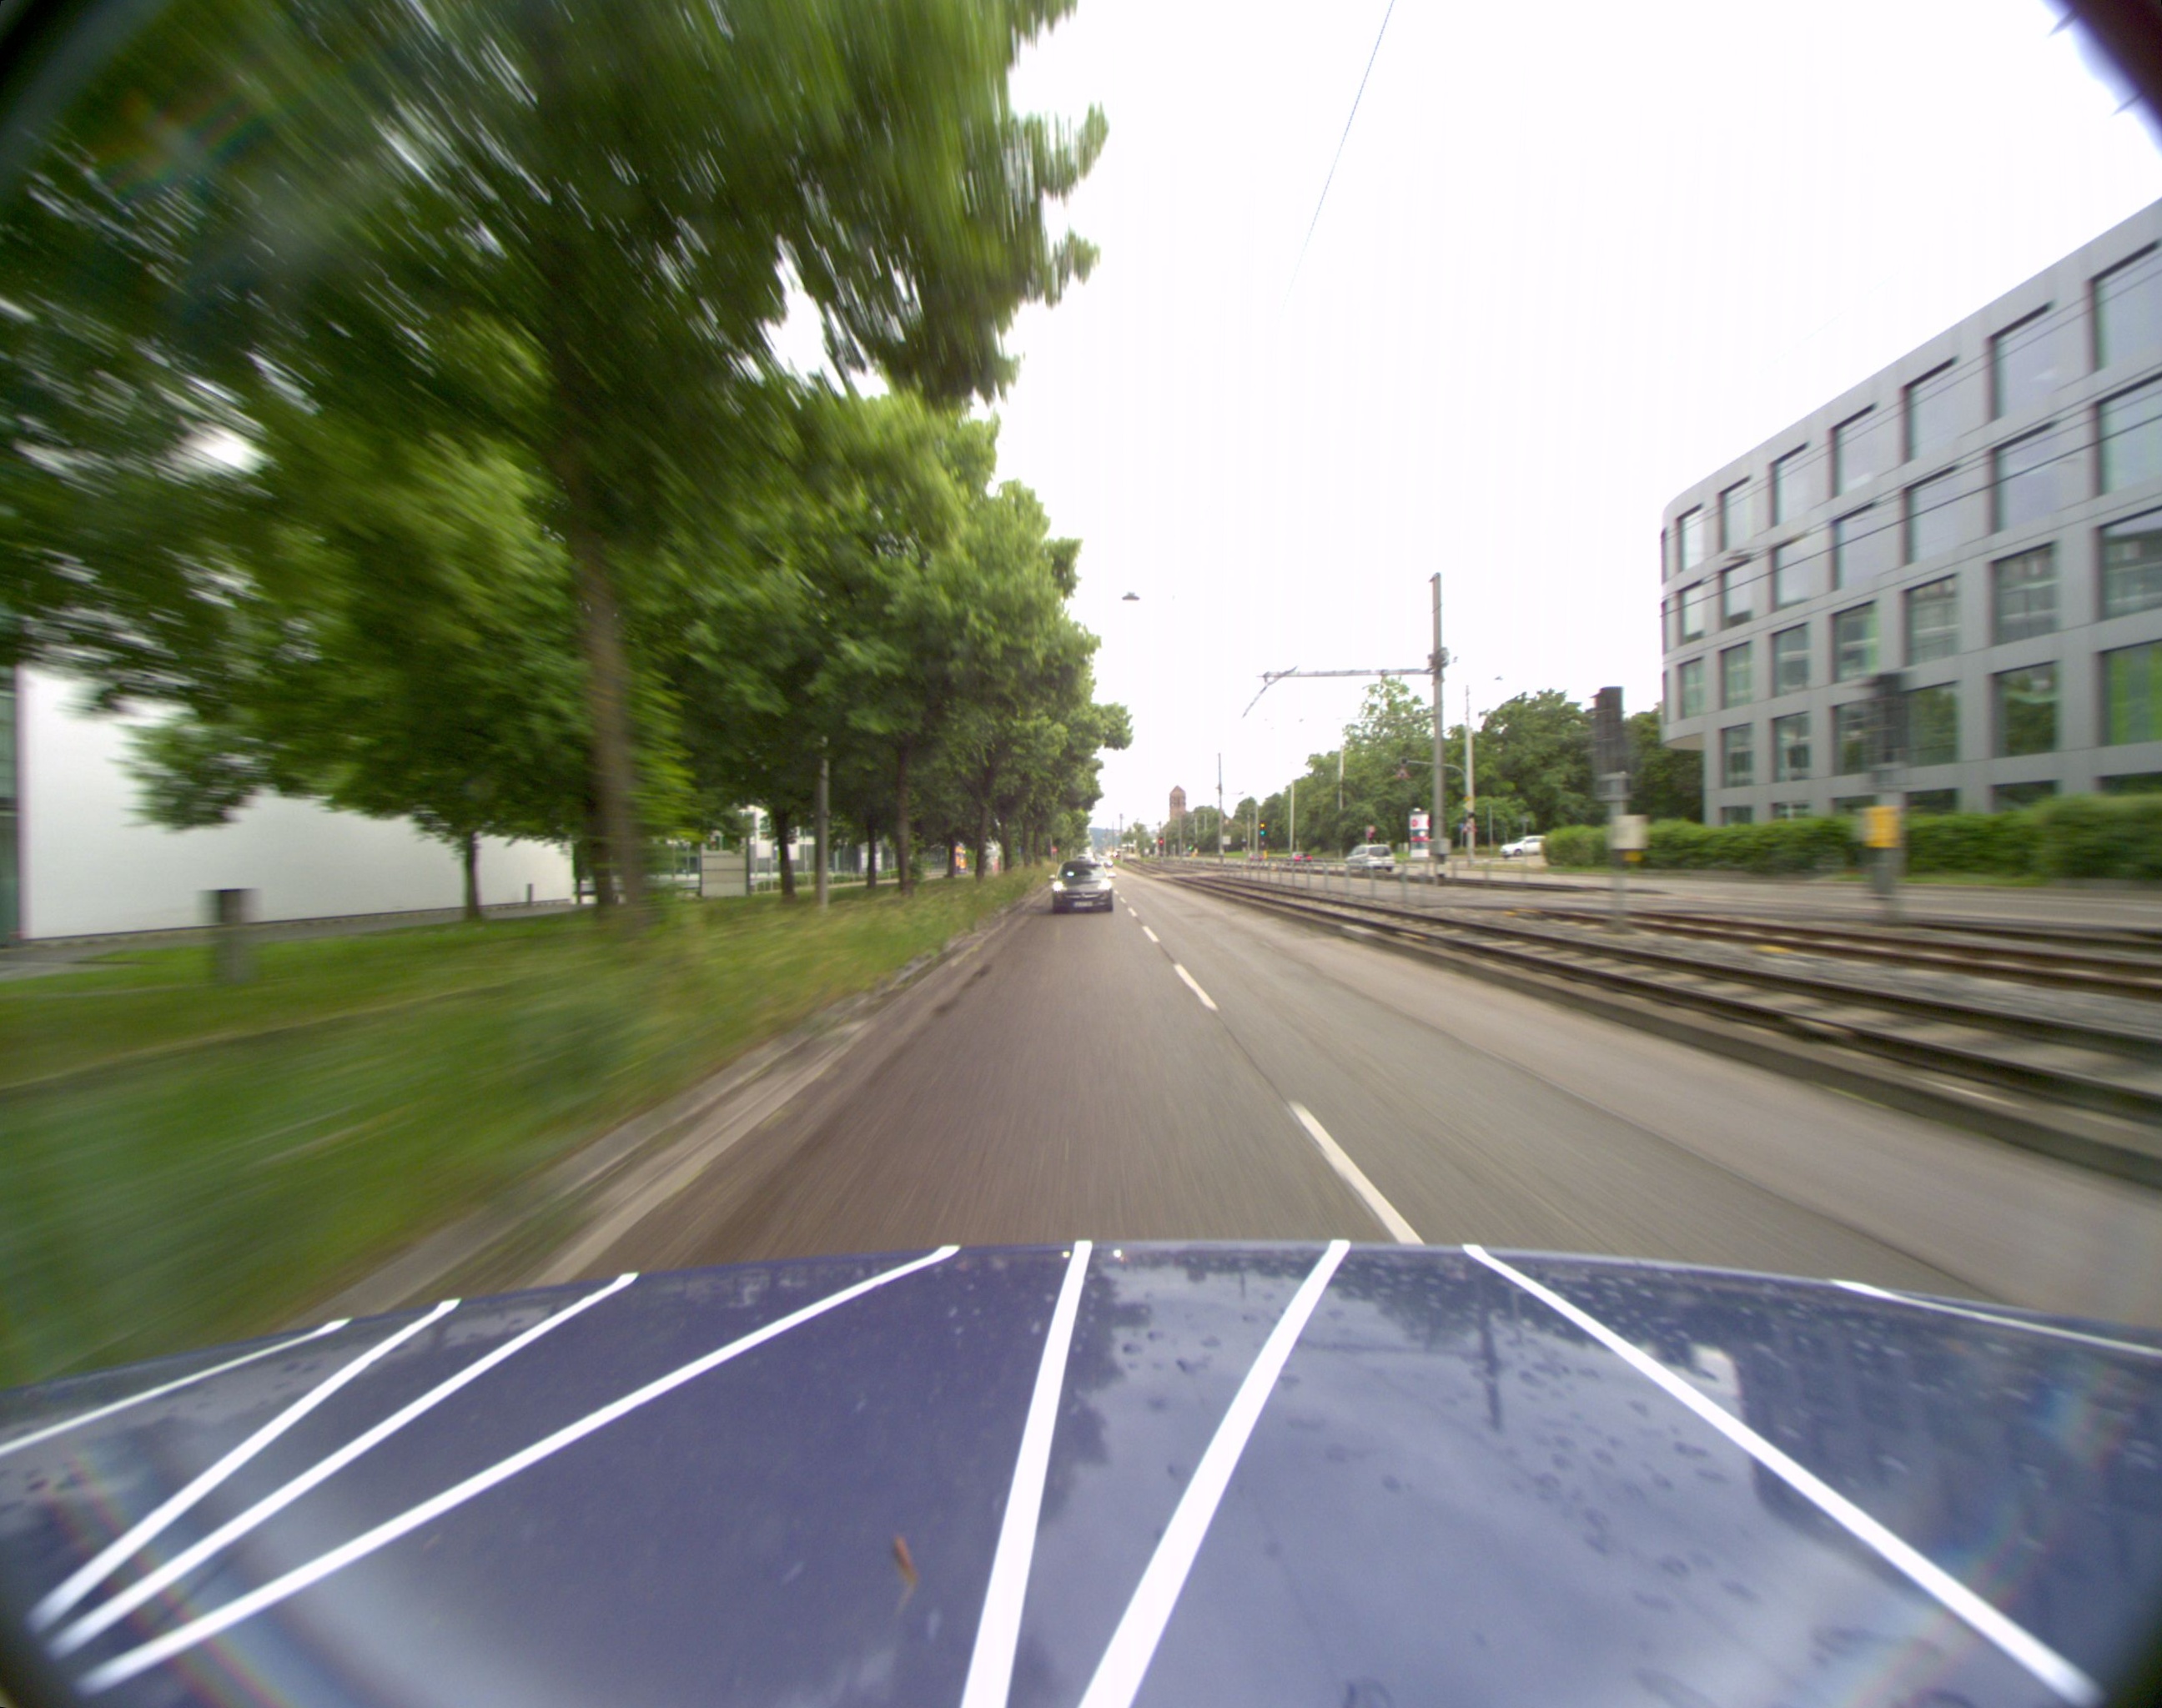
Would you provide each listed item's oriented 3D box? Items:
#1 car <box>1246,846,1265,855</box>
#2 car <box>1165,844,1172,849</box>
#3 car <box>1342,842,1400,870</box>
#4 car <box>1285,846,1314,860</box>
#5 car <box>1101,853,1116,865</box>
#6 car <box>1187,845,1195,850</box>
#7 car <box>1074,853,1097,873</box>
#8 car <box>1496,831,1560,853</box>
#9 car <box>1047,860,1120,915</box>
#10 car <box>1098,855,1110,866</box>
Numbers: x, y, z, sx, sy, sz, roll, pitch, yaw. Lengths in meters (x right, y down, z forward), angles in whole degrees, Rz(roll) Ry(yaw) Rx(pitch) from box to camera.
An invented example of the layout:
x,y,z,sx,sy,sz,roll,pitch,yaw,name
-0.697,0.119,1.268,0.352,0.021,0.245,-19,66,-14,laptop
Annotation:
x,y,z,sx,sy,sz,roll,pitch,yaw,name
24.491,-0.487,106.918,1.761,1.237,3.988,-1,0,1,car
28.864,-2.413,250.209,1.952,1.586,4.848,-1,0,3,car
18.148,0.105,47.744,1.907,1.635,4.884,-1,0,2,car
22.185,-0.144,77.350,1.802,1.339,4.259,-1,0,1,car
3.575,0.686,99.250,1.899,1.432,4.246,-2,-1,1,car
29.148,-1.713,201.367,1.765,1.389,3.901,-1,0,3,car
0.400,0.775,67.345,1.998,1.608,4.000,-2,0,0,car
35.815,-0.961,60.919,3.929,1.444,1.925,-4,1,-2,car
0.108,0.921,22.581,1.899,1.432,4.474,-2,-1,1,car
3.476,0.986,115.790,1.812,1.566,3.971,-2,1,1,car
